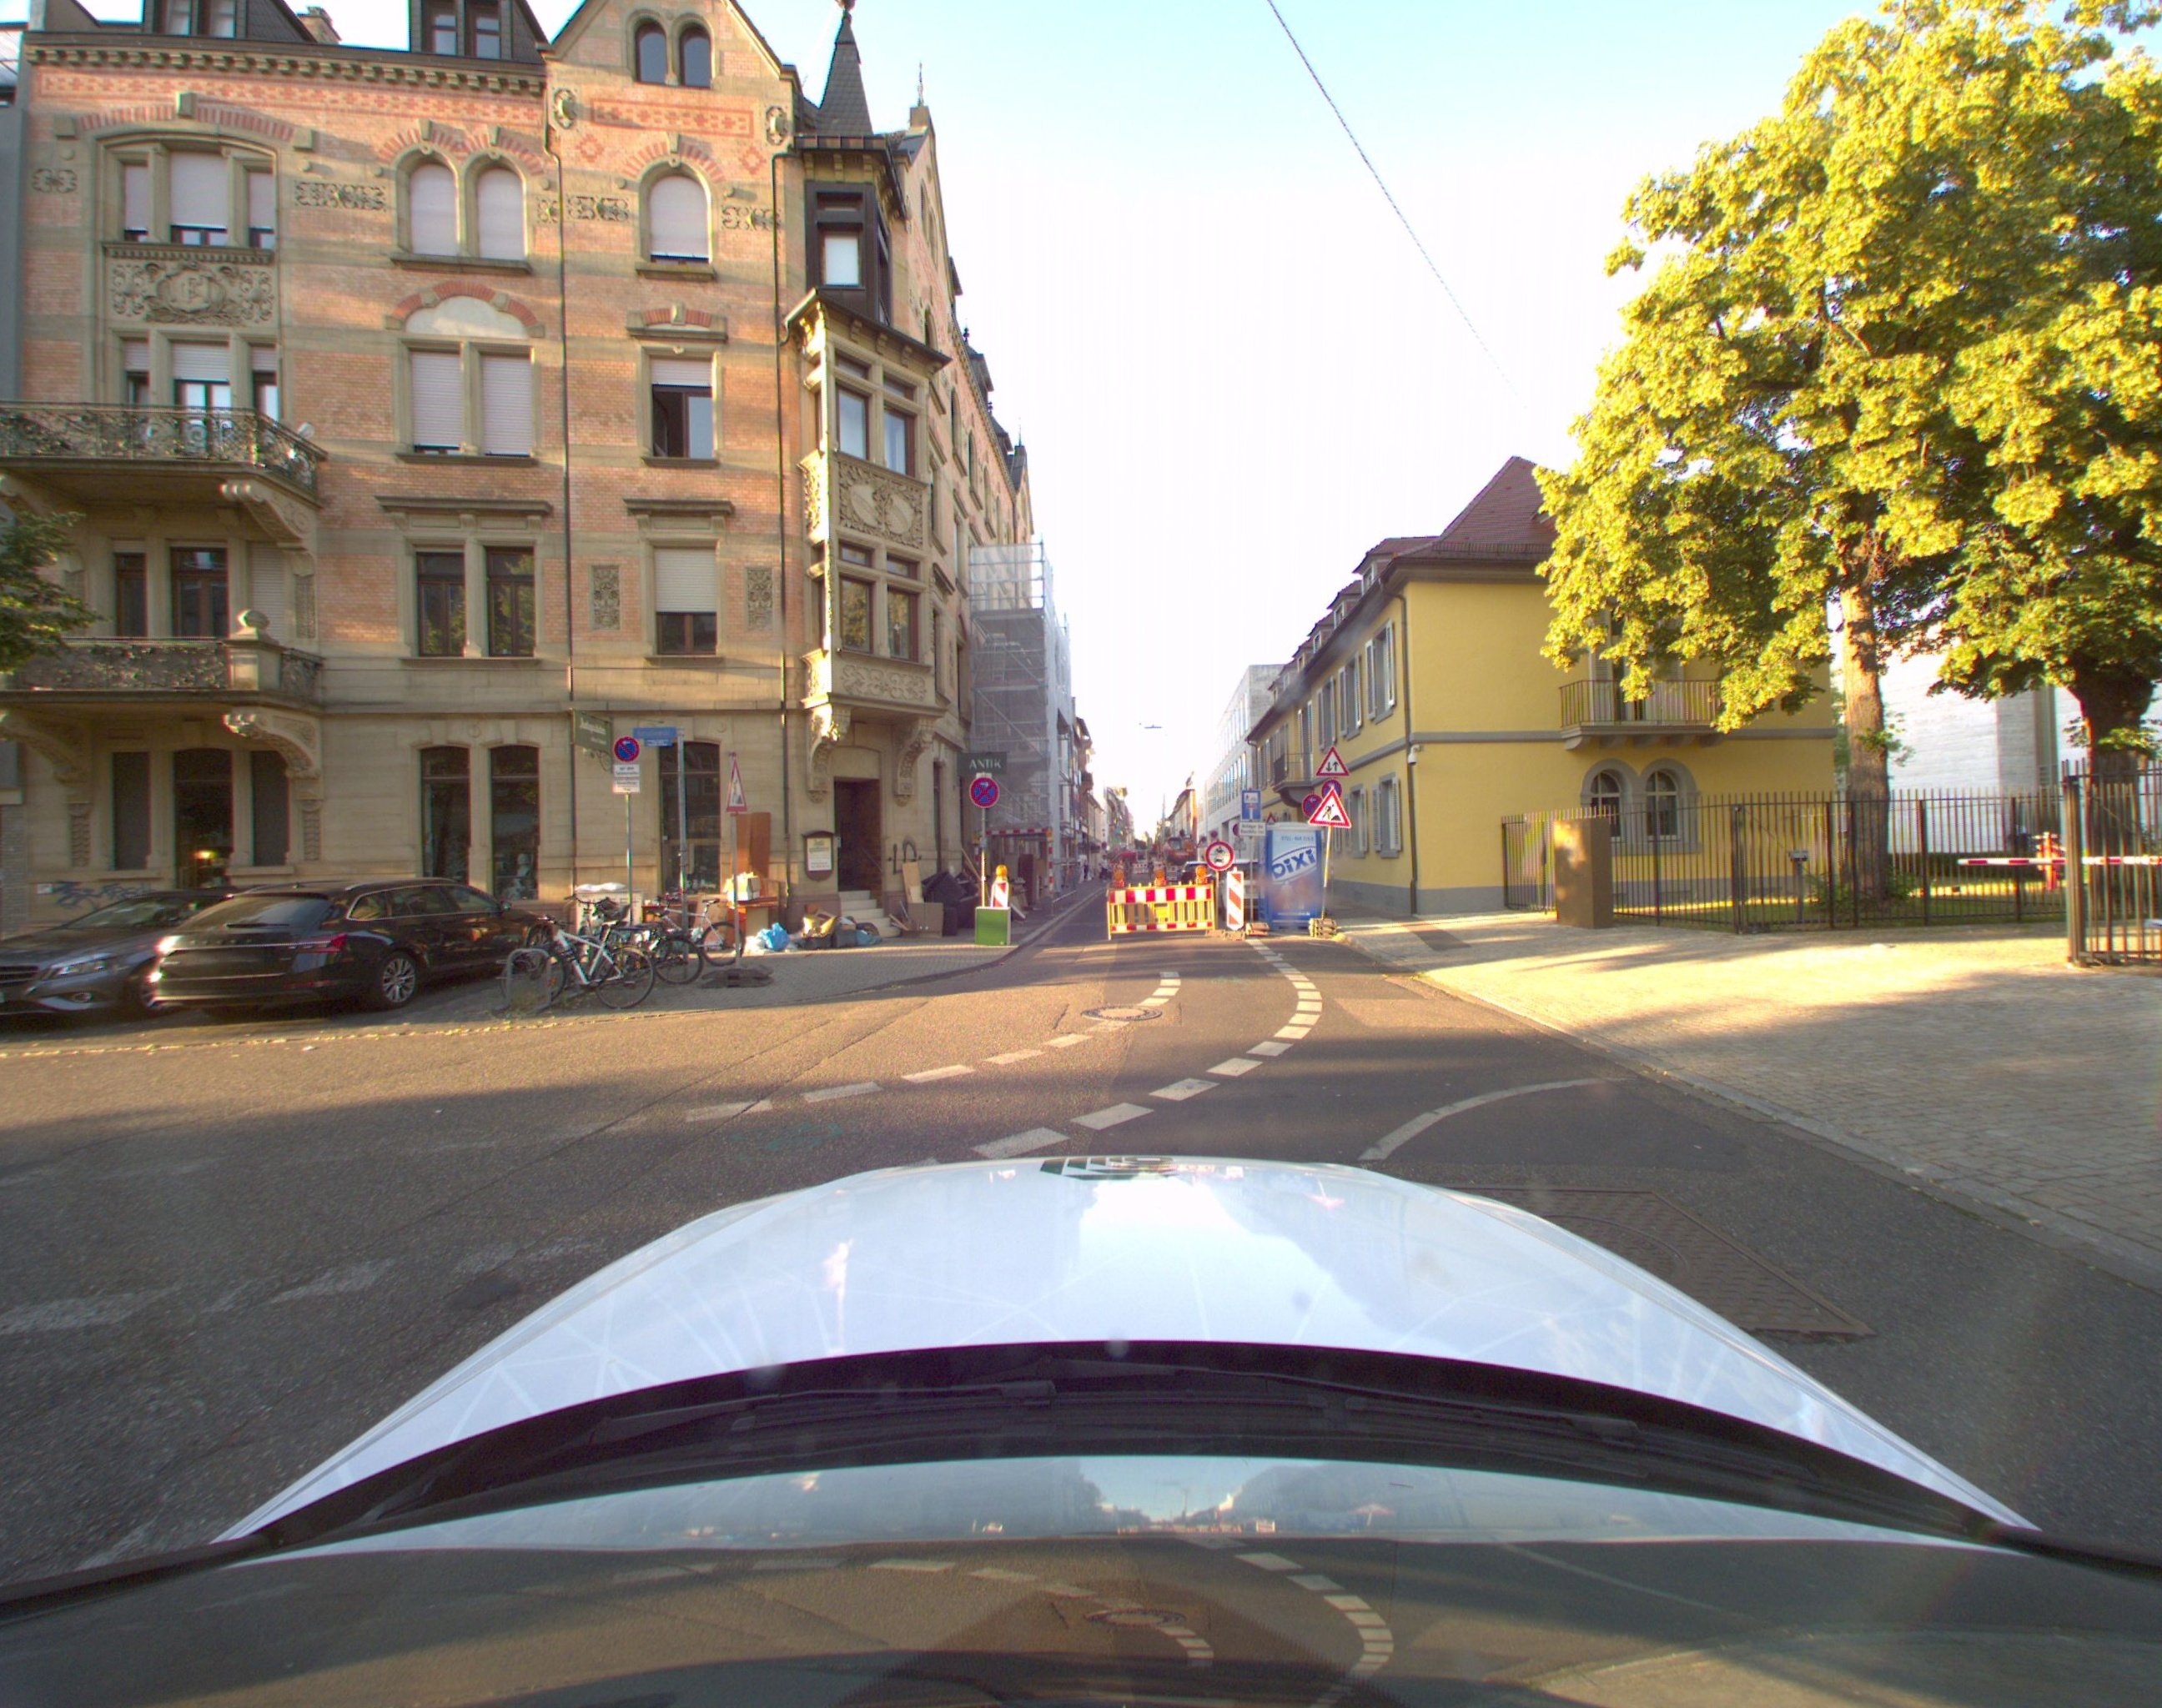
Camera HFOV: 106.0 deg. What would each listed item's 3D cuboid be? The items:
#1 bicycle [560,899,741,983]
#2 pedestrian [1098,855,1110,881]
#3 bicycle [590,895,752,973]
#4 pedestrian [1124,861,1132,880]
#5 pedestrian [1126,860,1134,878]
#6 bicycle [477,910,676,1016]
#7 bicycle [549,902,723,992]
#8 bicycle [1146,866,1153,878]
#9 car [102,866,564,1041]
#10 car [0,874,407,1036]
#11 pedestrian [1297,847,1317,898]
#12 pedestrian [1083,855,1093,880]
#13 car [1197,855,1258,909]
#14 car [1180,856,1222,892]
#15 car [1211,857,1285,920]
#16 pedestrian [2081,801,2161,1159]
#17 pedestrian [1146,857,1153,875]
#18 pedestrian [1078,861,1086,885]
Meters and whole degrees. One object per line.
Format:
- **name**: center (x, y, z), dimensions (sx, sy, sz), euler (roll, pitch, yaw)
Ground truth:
- **bicycle**: center (-5.914, 1.178, 11.290), dimensions (2.101, 1.014, 0.638), euler (-1, 0, -7)
- **pedestrian**: center (1.557, 0.955, 55.215), dimensions (0.508, 1.764, 0.507), euler (-1, -1, -37)
- **bicycle**: center (-6.080, 1.176, 12.141), dimensions (2.101, 1.040, 0.464), euler (-1, 0, -7)
- **pedestrian**: center (3.627, 1.260, 62.853), dimensions (0.502, 1.461, 0.513), euler (-2, 0, 5)
- **pedestrian**: center (3.987, 1.230, 66.017), dimensions (0.501, 1.461, 0.514), euler (-2, -1, 10)
- **bicycle**: center (-5.624, 1.203, 9.152), dimensions (1.822, 1.047, 0.571), euler (-1, 0, -4)
- **bicycle**: center (-5.668, 1.167, 10.452), dimensions (1.824, 1.014, 0.638), euler (-1, 0, -7)
- **bicycle**: center (5.572, 1.468, 66.120), dimensions (0.502, 0.884, 1.478), euler (-2, 0, 4)
- **car**: center (-8.857, 1.015, 10.374), dimensions (1.902, 1.511, 4.533), euler (-2, 1, -5)
- **car**: center (-11.422, 1.107, 10.552), dimensions (1.859, 1.479, 4.533), euler (-2, 1, -5)
- **pedestrian**: center (7.187, 0.586, 25.942), dimensions (0.464, 1.595, 0.674), euler (-2, 0, 7)
- **pedestrian**: center (0.509, 0.952, 57.497), dimensions (0.673, 1.733, 0.700), euler (-1, -1, 1)
- **car**: center (4.587, 0.826, 25.895), dimensions (1.533, 1.520, 3.984), euler (-2, 0, 5)
- **car**: center (5.524, 0.894, 37.717), dimensions (1.709, 1.520, 3.226), euler (-2, 0, 5)
- **car**: center (4.293, 0.849, 21.282), dimensions (1.533, 1.520, 3.225), euler (0, 0, 5)
- **pedestrian**: center (5.504, 0.555, 3.751), dimensions (0.948, 1.659, 0.643), euler (-5, -2, 42)
- **pedestrian**: center (5.553, 0.977, 66.070), dimensions (0.502, 1.461, 0.513), euler (-2, 0, 5)
- **pedestrian**: center (0.052, 1.217, 53.252), dimensions (0.339, 1.566, 0.423), euler (-1, -1, 26)
